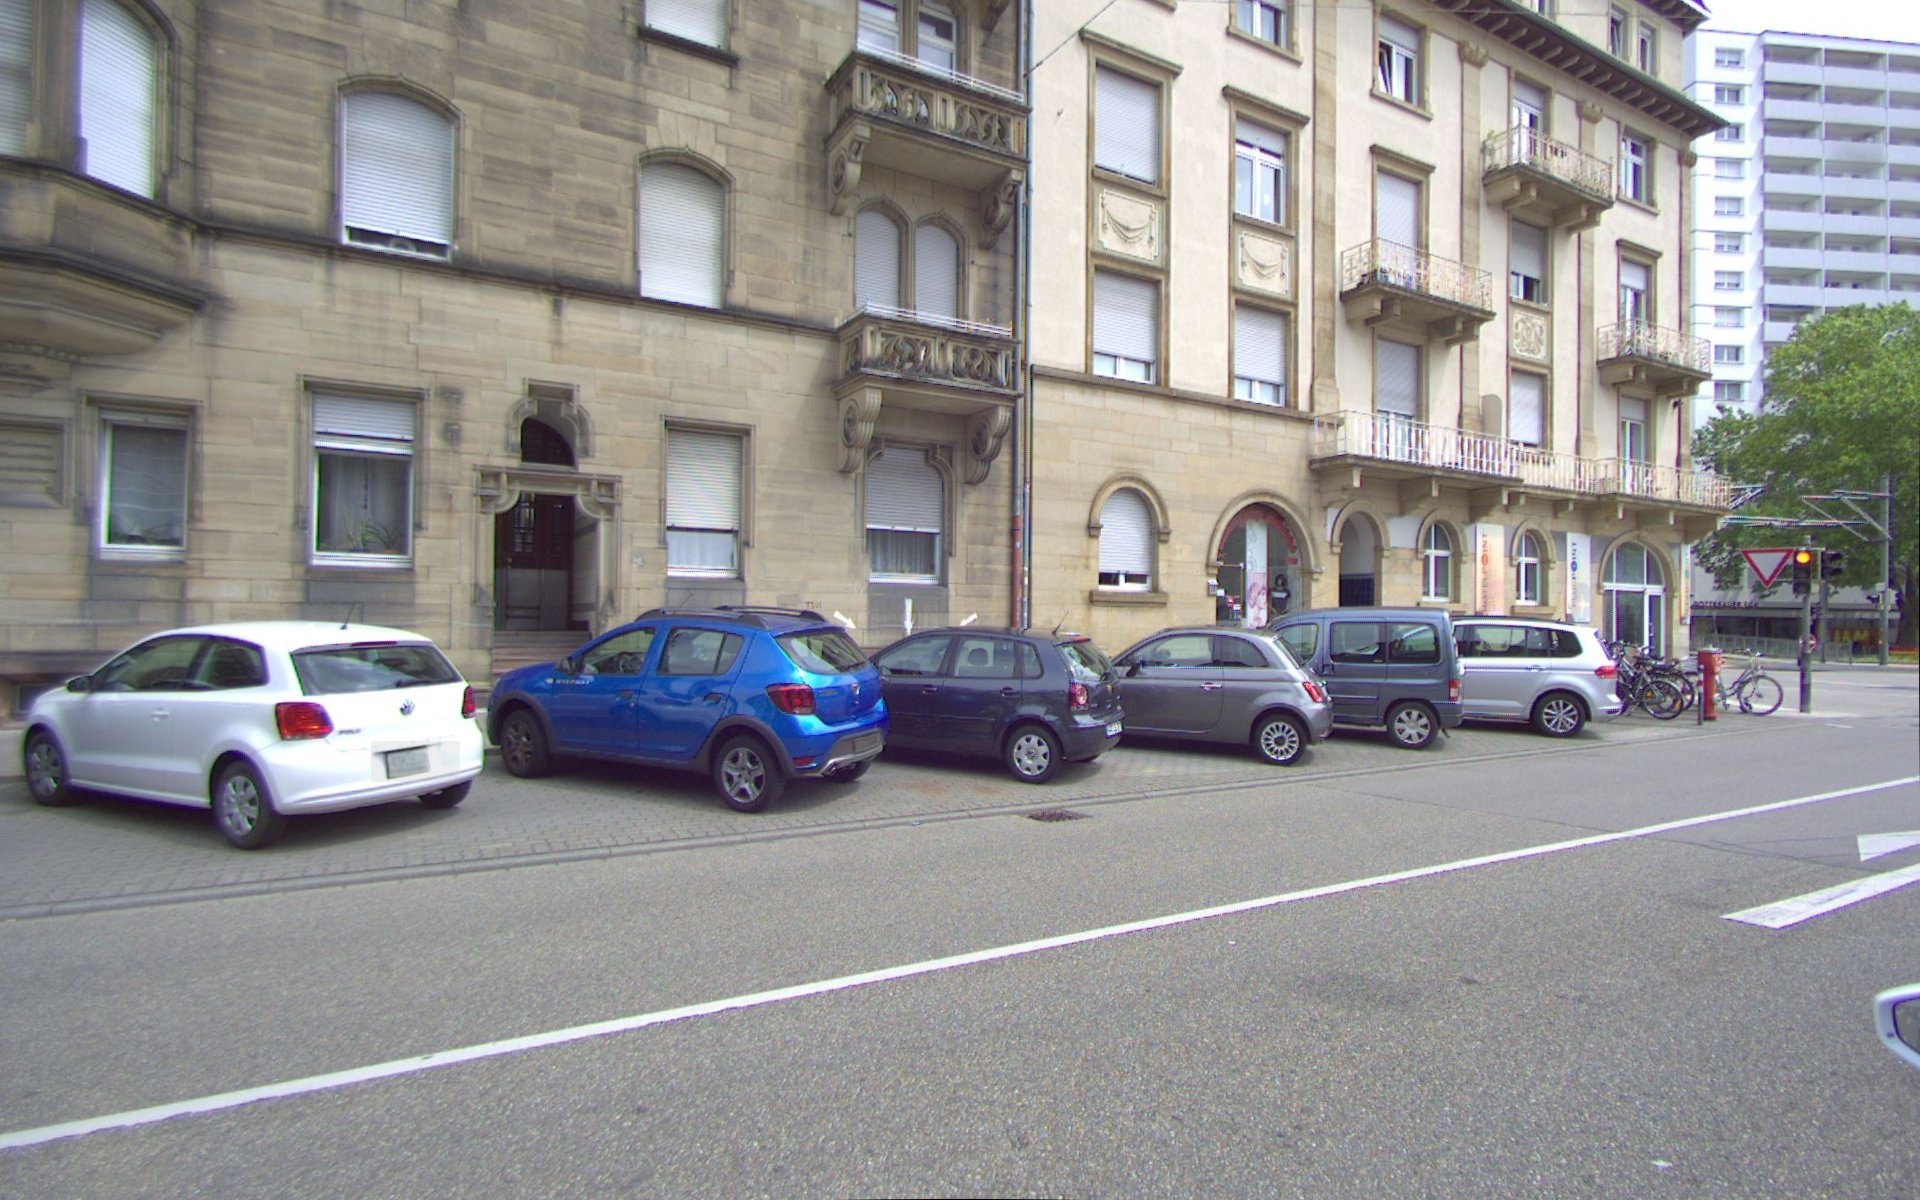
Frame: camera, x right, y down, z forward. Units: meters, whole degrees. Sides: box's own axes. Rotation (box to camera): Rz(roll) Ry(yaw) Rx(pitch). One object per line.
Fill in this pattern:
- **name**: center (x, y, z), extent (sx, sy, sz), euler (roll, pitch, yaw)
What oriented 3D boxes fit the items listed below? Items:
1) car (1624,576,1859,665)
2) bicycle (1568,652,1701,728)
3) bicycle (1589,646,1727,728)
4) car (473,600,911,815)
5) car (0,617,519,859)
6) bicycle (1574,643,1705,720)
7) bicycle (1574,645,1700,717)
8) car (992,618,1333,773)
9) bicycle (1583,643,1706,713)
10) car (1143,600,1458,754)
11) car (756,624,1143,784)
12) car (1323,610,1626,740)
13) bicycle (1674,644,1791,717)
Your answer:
- **car**: center (38.238, 1.017, 49.861), extent (3.389, 3.967, 9.911), euler (0, -1, -5)
- **bicycle**: center (11.072, 1.445, 16.558), extent (0.586, 1.135, 1.805), euler (1, -1, -23)
- **bicycle**: center (11.666, 1.423, 16.855), extent (0.586, 1.135, 1.803), euler (1, 2, -25)
- **car**: center (-2.498, 0.860, 9.388), extent (3.706, 1.673, 1.723), euler (0, -1, 24)
- **car**: center (-5.467, 0.893, 7.839), extent (3.616, 1.501, 1.741), euler (0, -1, 25)
- **bicycle**: center (11.992, 1.404, 17.774), extent (0.588, 1.182, 1.796), euler (1, 1, -37)
- **bicycle**: center (12.354, 1.448, 18.368), extent (0.588, 1.135, 1.796), euler (1, 1, -37)
- **car**: center (2.554, 1.078, 12.562), extent (3.934, 1.673, 1.796), euler (0, -1, 22)
- **bicycle**: center (12.848, 1.434, 18.900), extent (0.588, 1.135, 1.796), euler (1, 1, -37)
- **car**: center (4.693, 0.979, 14.050), extent (3.934, 1.903, 1.796), euler (0, -1, 22)
- **car**: center (-0.109, 1.004, 10.995), extent (3.830, 1.463, 1.836), euler (0, -1, 25)
- **car**: center (7.707, 1.064, 15.457), extent (3.934, 1.797, 1.796), euler (0, -1, 22)
- **bicycle**: center (14.263, 1.461, 18.617), extent (0.489, 1.182, 1.878), euler (2, 1, -9)
